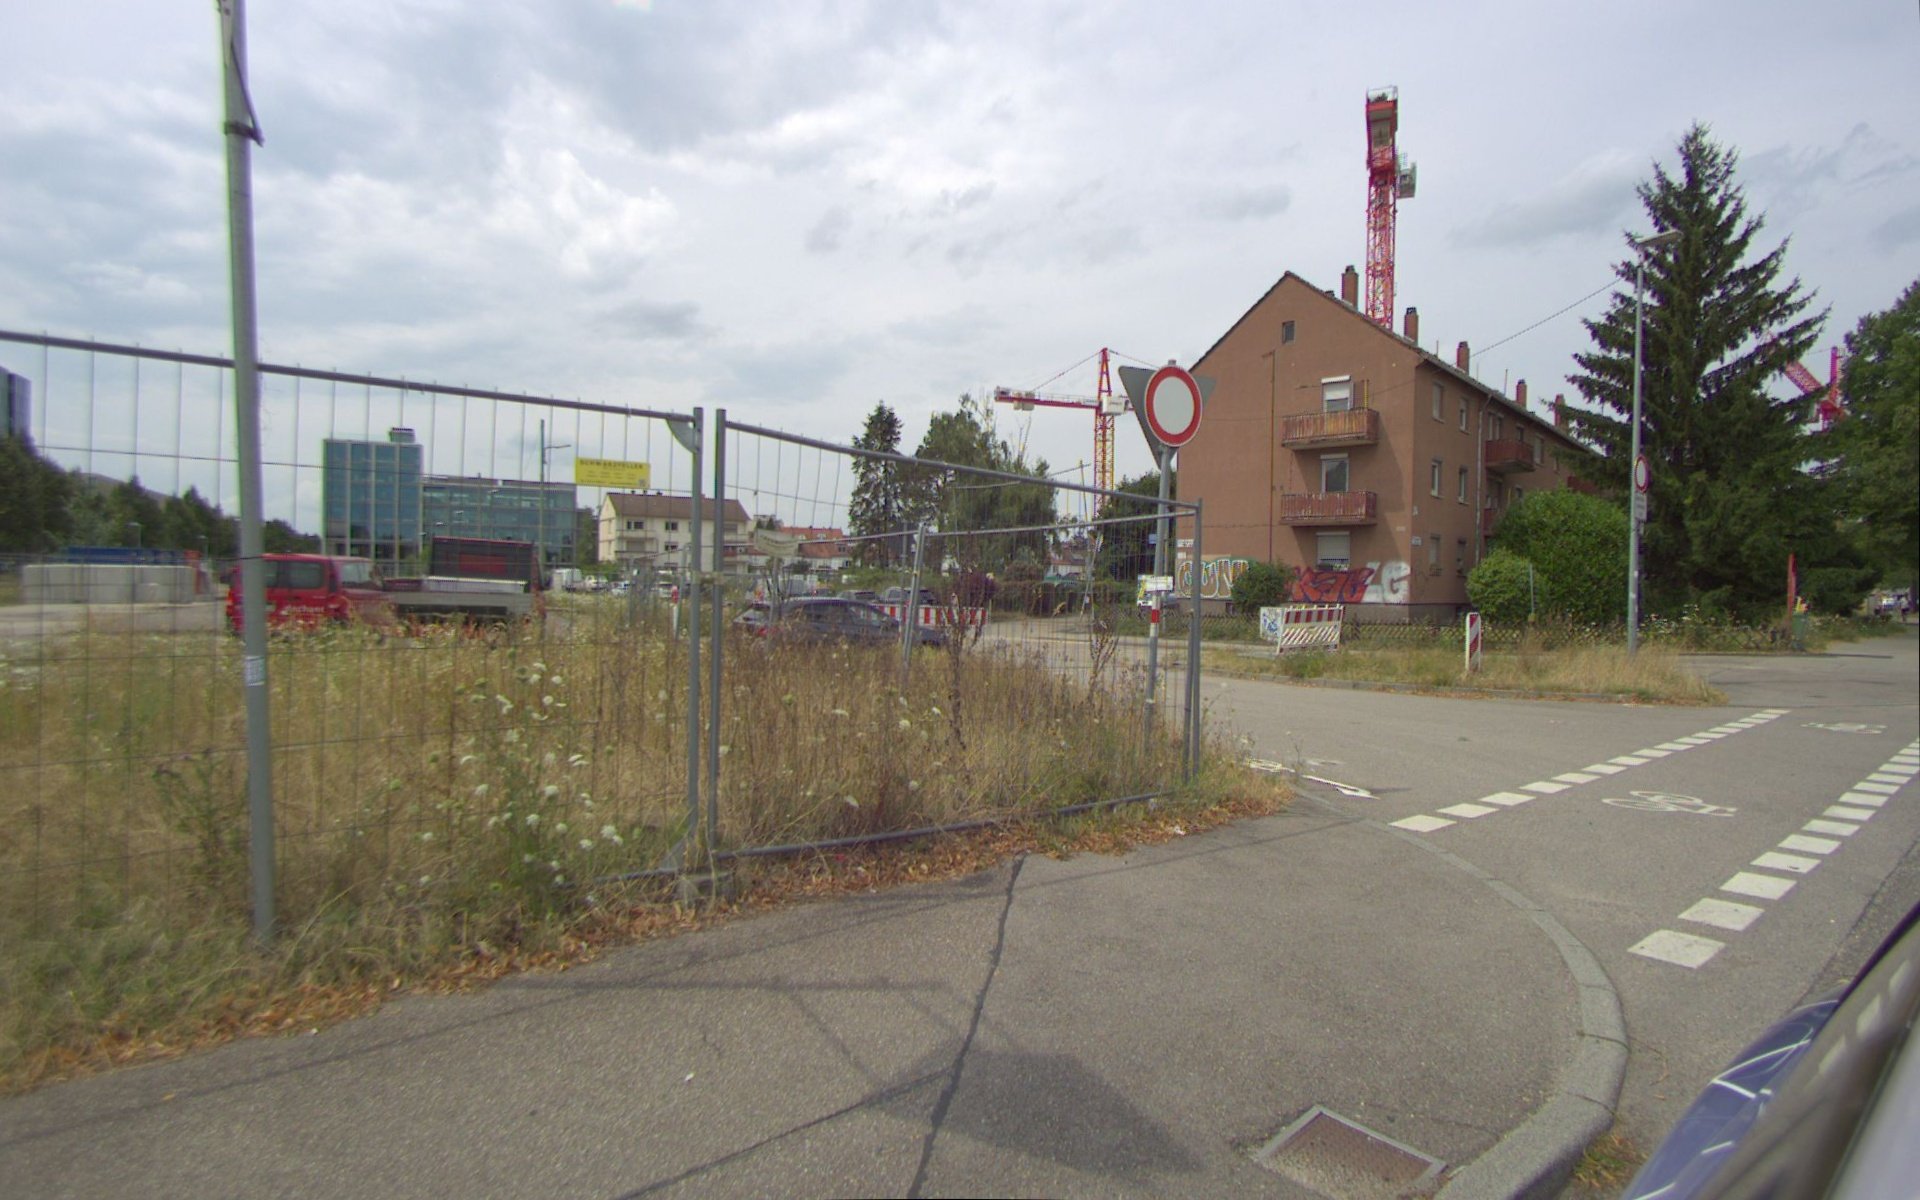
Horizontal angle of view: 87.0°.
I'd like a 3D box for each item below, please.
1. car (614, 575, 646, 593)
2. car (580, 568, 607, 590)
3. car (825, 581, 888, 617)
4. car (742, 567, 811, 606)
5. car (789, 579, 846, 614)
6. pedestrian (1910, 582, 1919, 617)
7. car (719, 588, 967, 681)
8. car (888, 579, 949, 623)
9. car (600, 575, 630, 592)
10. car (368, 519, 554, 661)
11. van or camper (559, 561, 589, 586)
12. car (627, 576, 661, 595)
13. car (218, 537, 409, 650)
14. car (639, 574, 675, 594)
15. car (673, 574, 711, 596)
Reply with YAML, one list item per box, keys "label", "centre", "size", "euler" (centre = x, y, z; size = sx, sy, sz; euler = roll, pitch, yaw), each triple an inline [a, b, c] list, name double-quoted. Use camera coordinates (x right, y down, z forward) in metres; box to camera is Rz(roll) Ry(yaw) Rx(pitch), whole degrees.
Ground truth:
- label: "car"
  centre: [-28.987, -1.406, 88.805]
  size: [1.820, 1.554, 4.018]
  euler: [0, 1, -31]
- label: "car"
  centre: [-36.686, -2.120, 101.350]
  size: [1.852, 2.126, 4.018]
  euler: [0, 1, -31]
- label: "car"
  centre: [-5.065, -0.076, 49.208]
  size: [1.765, 1.622, 4.020]
  euler: [0, 1, -26]
- label: "car"
  centre: [-10.664, -0.795, 58.438]
  size: [2.107, 2.163, 4.911]
  euler: [0, 1, -35]
- label: "car"
  centre: [-7.597, -0.206, 53.650]
  size: [1.819, 1.771, 4.020]
  euler: [0, 1, -27]
- label: "pedestrian"
  centre: [56.075, -0.018, 59.079]
  size: [0.852, 2.039, 0.721]
  euler: [1, 1, 41]
- label: "car"
  centre: [-2.081, 0.549, 18.493]
  size: [4.178, 1.492, 1.767]
  euler: [0, 1, -35]
- label: "car"
  centre: [-1.888, 0.007, 44.798]
  size: [1.764, 1.872, 4.009]
  euler: [0, 1, -17]
- label: "car"
  centre: [-32.054, -1.575, 93.902]
  size: [1.820, 1.554, 4.018]
  euler: [0, 1, -31]
- label: "car"
  centre: [-9.929, -0.242, 20.776]
  size: [2.270, 2.442, 6.557]
  euler: [0, 1, -16]
- label: "van or camper"
  centre: [-44.974, -3.078, 117.774]
  size: [2.306, 2.721, 5.249]
  euler: [0, 1, -32]
- label: "car"
  centre: [-26.375, -1.252, 84.342]
  size: [1.820, 1.554, 4.018]
  euler: [0, 1, -31]
- label: "car"
  centre: [-12.842, -0.154, 20.493]
  size: [1.896, 1.934, 4.999]
  euler: [3, 0, -17]
- label: "car"
  centre: [-23.794, -1.262, 79.434]
  size: [1.820, 1.554, 4.018]
  euler: [0, 1, -31]
- label: "car"
  centre: [-19.555, -1.087, 73.730]
  size: [1.820, 1.525, 4.020]
  euler: [0, 1, -28]
